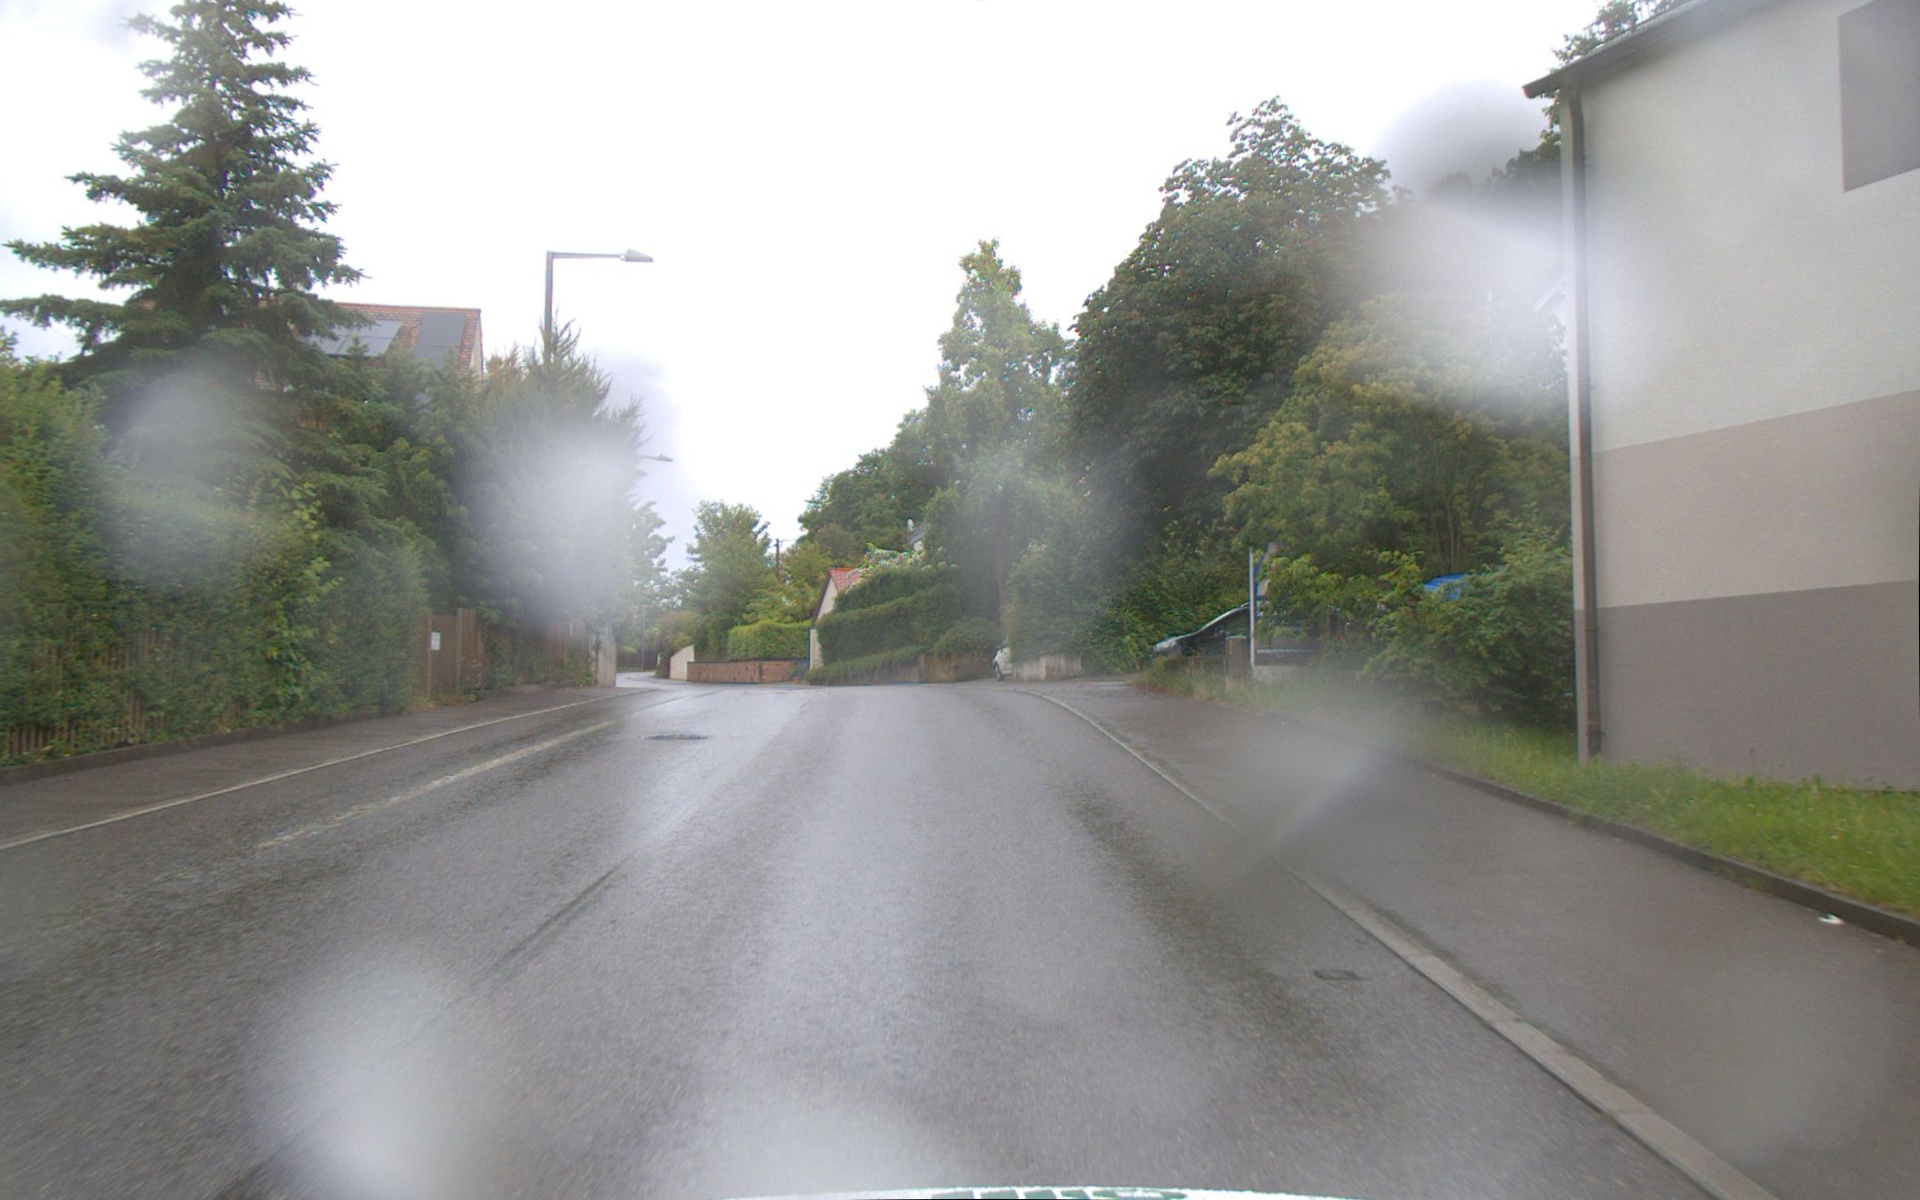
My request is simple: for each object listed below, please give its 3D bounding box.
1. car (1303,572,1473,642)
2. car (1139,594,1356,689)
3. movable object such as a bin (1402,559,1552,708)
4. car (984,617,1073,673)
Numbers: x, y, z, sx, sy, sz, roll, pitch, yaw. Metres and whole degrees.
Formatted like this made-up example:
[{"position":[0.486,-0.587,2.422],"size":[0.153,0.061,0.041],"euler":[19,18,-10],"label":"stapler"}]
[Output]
[{"position":[11.404,0.189,44.076],"size":[4.211,1.662,1.715],"euler":[-1,-3,-25],"label":"car"},{"position":[5.896,0.864,34.014],"size":[4.239,1.746,1.730],"euler":[2,-3,10],"label":"car"},{"position":[5.507,0.342,17.621],"size":[1.230,1.524,0.971],"euler":[0,-1,-35],"label":"movable object such as a bin"},{"position":[2.079,1.424,51.386],"size":[1.508,1.562,3.827],"euler":[-4,-1,-17],"label":"car"}]
